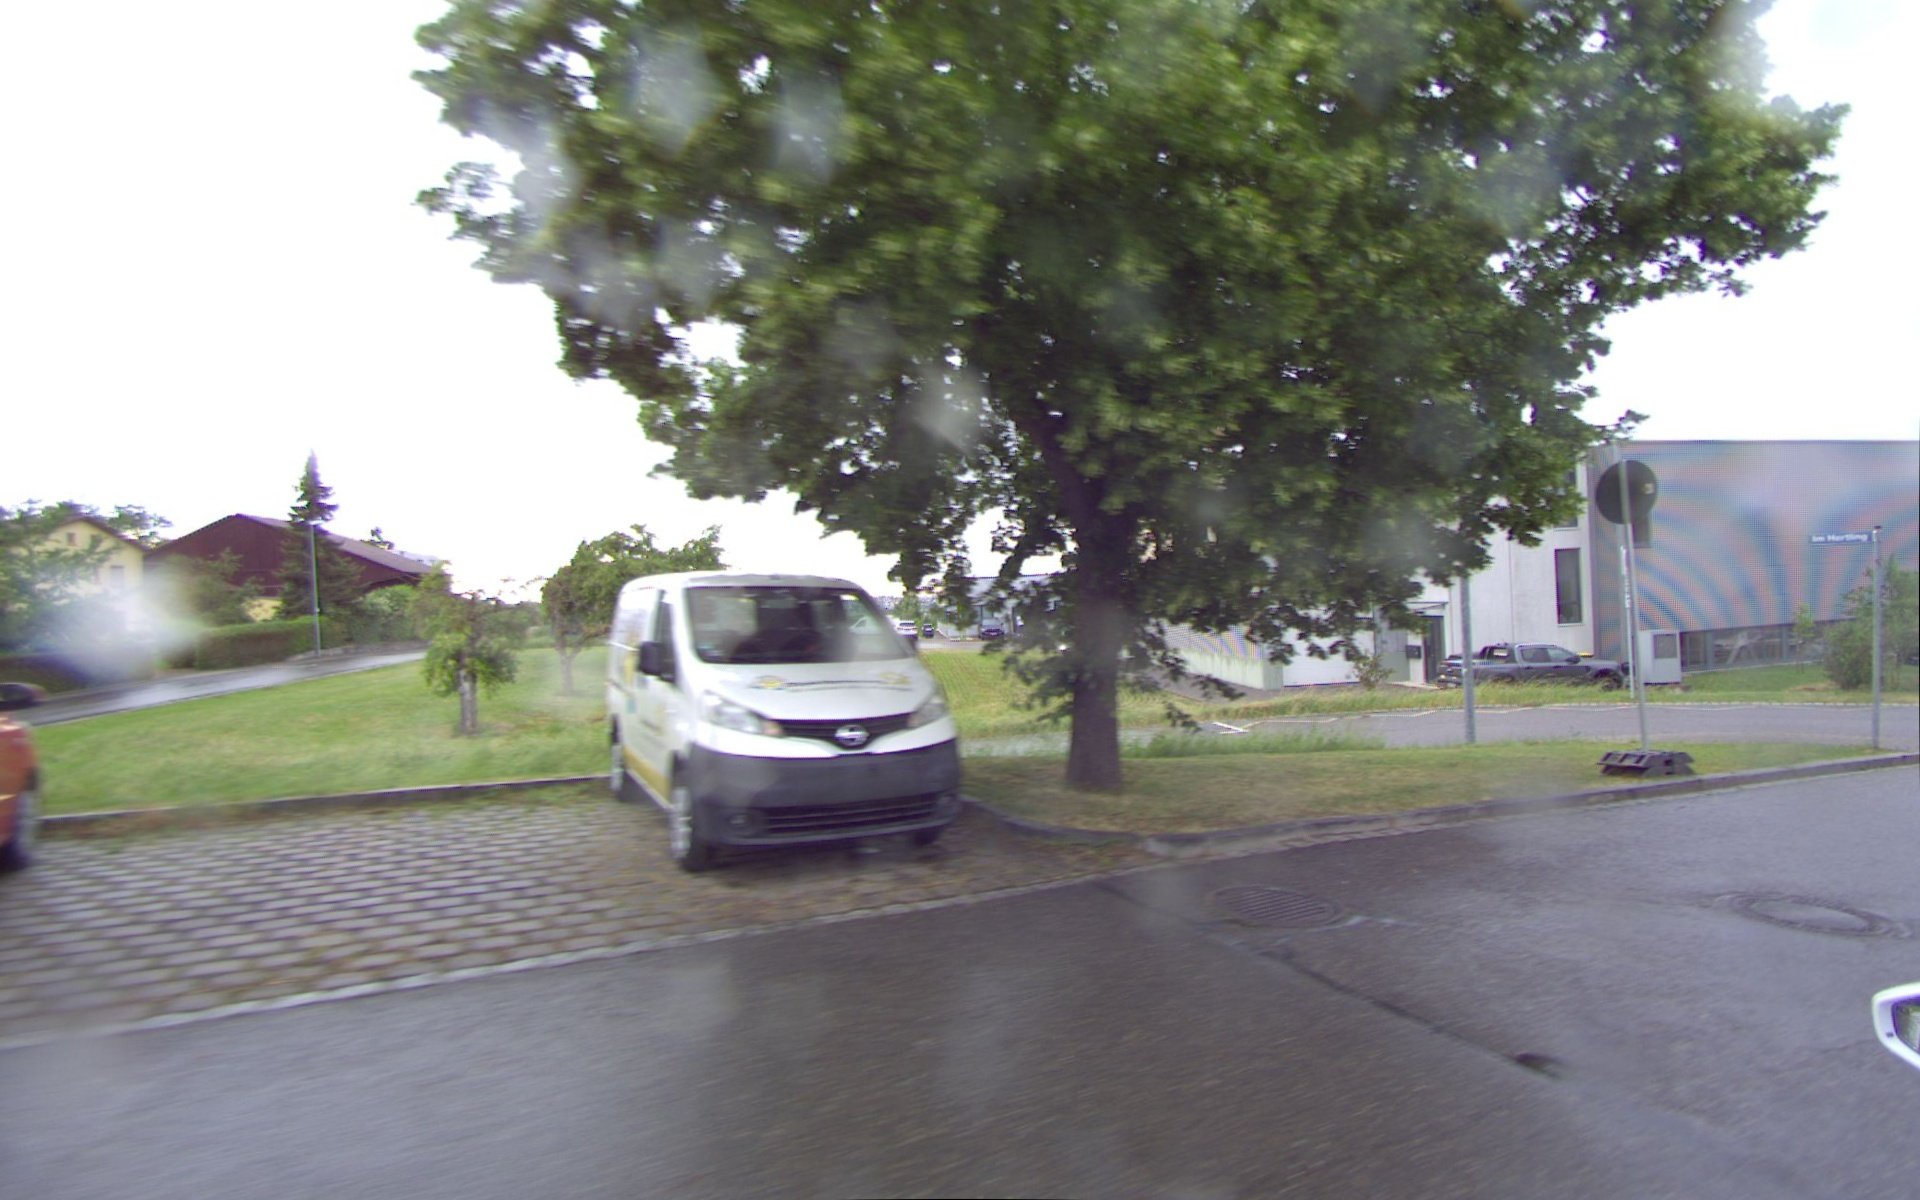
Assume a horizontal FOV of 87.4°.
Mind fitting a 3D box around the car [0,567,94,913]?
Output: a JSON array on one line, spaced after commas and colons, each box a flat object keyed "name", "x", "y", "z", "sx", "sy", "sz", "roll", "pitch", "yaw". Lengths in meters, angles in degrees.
[{"name": "car", "x": -5.734, "y": 0.707, "z": 4.866, "sx": 1.737, "sy": 1.744, "sz": 4.172, "roll": 2, "pitch": -3, "yaw": -33}]

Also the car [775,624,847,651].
[{"name": "car", "x": -9.999, "y": 2.543, "z": 67.632, "sx": 4.530, "sy": 1.669, "sz": 2.291, "roll": -1, "pitch": -4, "yaw": -3}]

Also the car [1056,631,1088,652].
[{"name": "car", "x": 8.864, "y": 3.266, "z": 79.580, "sx": 1.961, "sy": 1.639, "sz": 4.000, "roll": 0, "pitch": -2, "yaw": -2}]

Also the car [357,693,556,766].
[{"name": "car", "x": -11.215, "y": 2.874, "z": 22.548, "sx": 3.635, "sy": 1.465, "sz": 1.563, "roll": 0, "pitch": -2, "yaw": -4}]

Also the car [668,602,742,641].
[{"name": "car", "x": -23.149, "y": 1.949, "z": 91.463, "sx": 6.179, "sy": 3.474, "sz": 2.000, "roll": 0, "pitch": -3, "yaw": -3}]

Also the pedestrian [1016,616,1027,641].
[{"name": "pedestrian", "x": 4.940, "y": 2.326, "z": 81.219, "sx": 0.834, "sy": 2.040, "sz": 0.647, "roll": 0, "pitch": -2, "yaw": 1}]

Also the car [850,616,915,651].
[{"name": "car", "x": -8.052, "y": 3.521, "z": 104.779, "sx": 6.600, "sy": 3.469, "sz": 2.545, "roll": -1, "pitch": -4, "yaw": -3}]

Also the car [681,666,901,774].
[{"name": "car", "x": -3.531, "y": 2.479, "z": 21.329, "sx": 4.304, "sy": 1.776, "sz": 1.998, "roll": -4, "pitch": -2, "yaw": -9}]

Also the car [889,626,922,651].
[{"name": "car", "x": -4.342, "y": 3.018, "z": 79.113, "sx": 2.238, "sy": 1.879, "sz": 4.714, "roll": -1, "pitch": -1, "yaw": -7}]

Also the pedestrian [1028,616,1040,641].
[{"name": "pedestrian", "x": 5.963, "y": 2.318, "z": 81.077, "sx": 0.847, "sy": 2.031, "sz": 0.660, "roll": 0, "pitch": -2, "yaw": 0}]

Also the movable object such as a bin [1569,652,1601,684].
[{"name": "movable object such as a bin", "x": 22.293, "y": 2.410, "z": 35.826, "sx": 0.661, "sy": 1.110, "sz": 0.637, "roll": -2, "pitch": -3, "yaw": -2}]

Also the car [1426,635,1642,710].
[{"name": "car", "x": 17.702, "y": 2.203, "z": 31.116, "sx": 5.503, "sy": 1.947, "sz": 2.134, "roll": -3, "pitch": -1, "yaw": -5}]

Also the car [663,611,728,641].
[{"name": "car", "x": -23.305, "y": 2.343, "z": 88.766, "sx": 5.332, "sy": 2.603, "sz": 1.998, "roll": 1, "pitch": -3, "yaw": -9}]

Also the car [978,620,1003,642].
[{"name": "car", "x": 2.381, "y": 2.462, "z": 79.690, "sx": 1.776, "sy": 1.639, "sz": 4.000, "roll": 0, "pitch": -2, "yaw": -2}]

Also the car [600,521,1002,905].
[{"name": "car", "x": -1.473, "y": 0.681, "z": 7.414, "sx": 1.837, "sy": 1.930, "sz": 4.289, "roll": 1, "pitch": -3, "yaw": -25}]
